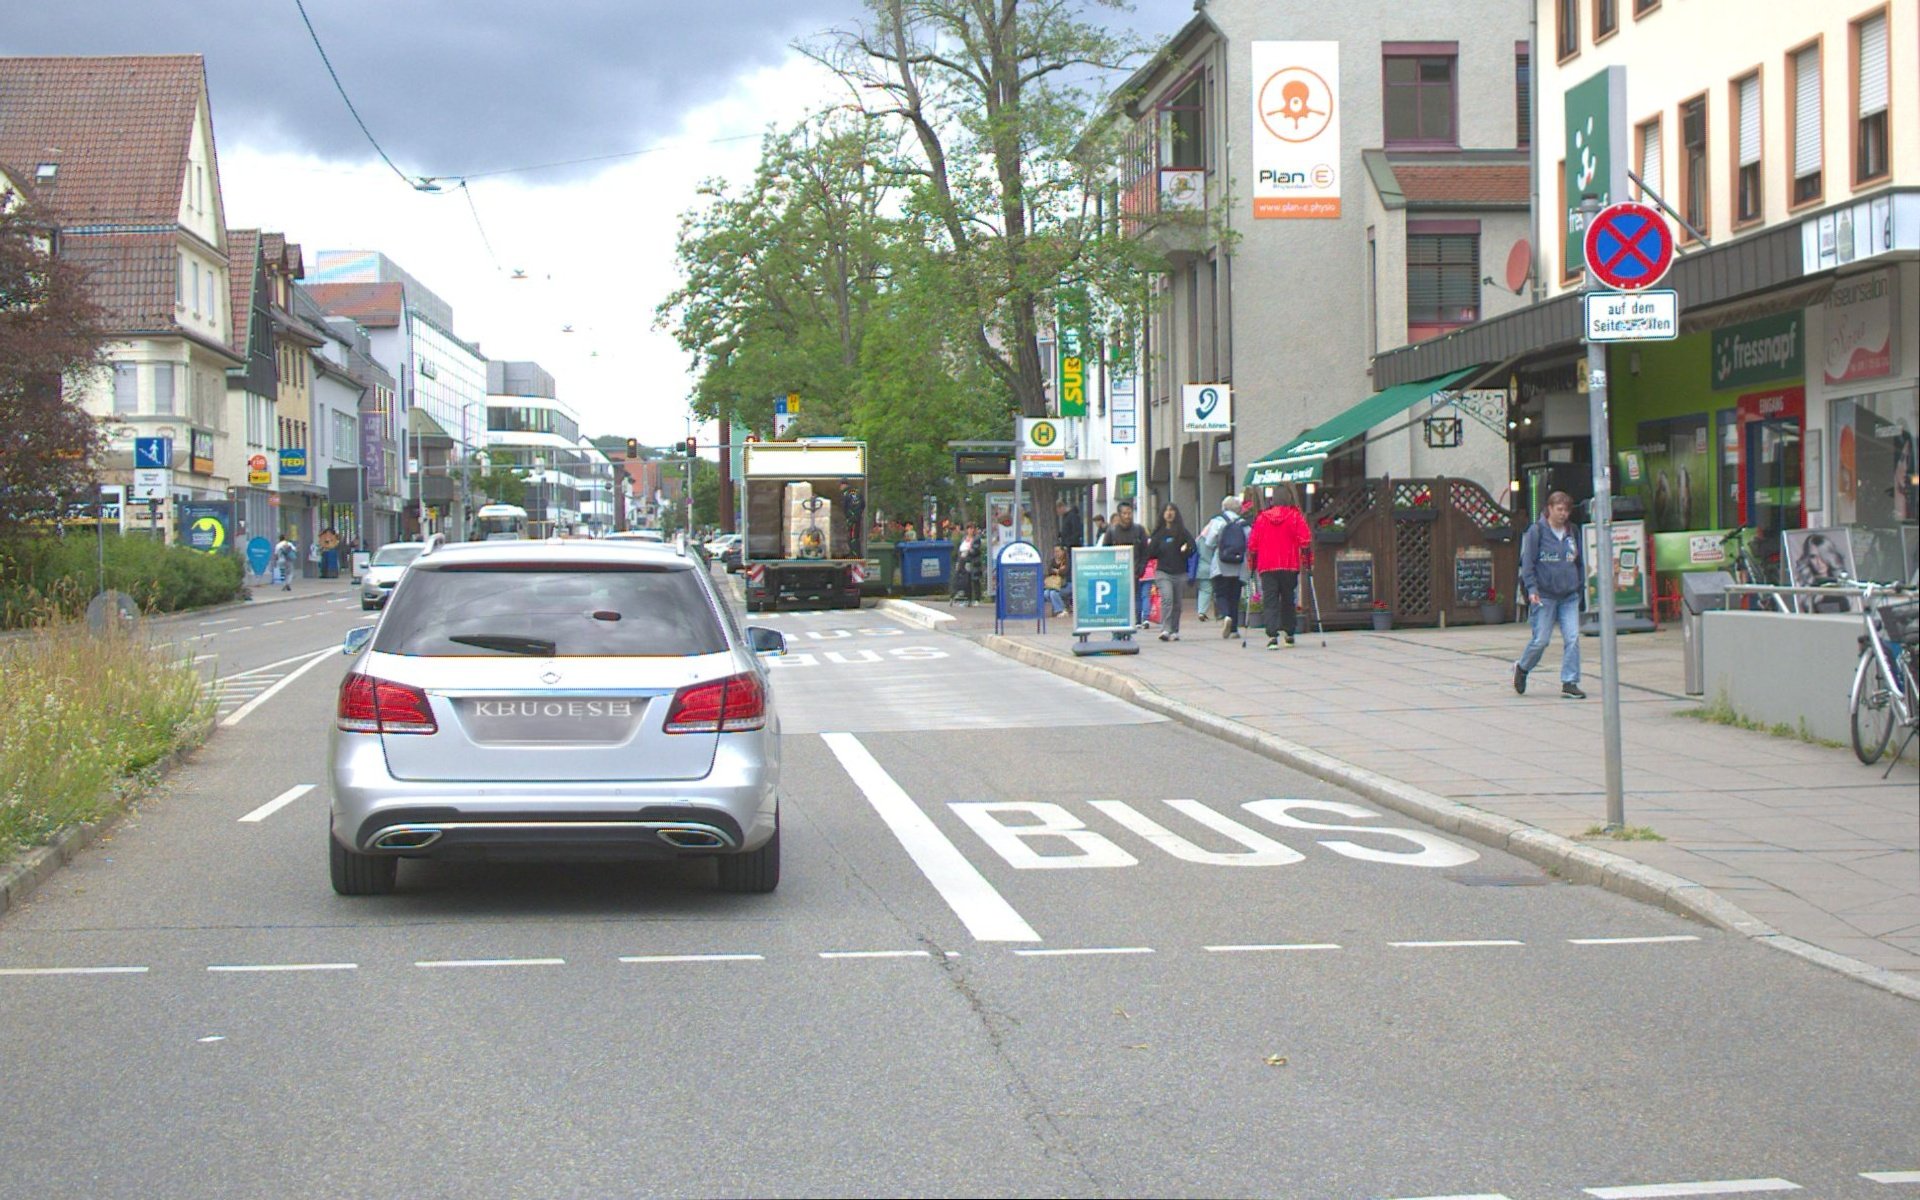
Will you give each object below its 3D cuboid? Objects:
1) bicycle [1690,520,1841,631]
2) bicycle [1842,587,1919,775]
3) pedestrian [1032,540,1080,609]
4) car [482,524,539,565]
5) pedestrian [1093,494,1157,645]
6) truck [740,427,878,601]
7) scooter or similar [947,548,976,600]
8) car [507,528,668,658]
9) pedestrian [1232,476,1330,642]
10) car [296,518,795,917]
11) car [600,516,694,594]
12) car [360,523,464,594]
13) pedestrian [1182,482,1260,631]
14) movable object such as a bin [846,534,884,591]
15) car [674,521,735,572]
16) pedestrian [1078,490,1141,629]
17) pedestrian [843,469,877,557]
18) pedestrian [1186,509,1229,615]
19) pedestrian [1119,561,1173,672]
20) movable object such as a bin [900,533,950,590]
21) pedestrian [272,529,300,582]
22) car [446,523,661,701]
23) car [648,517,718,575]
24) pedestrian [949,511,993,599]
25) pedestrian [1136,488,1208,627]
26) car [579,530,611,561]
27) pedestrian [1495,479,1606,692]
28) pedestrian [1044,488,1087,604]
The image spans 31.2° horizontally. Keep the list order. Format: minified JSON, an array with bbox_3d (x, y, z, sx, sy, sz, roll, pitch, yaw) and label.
[{"bbox_3d":[8.134,-0.264,34.810,0.741,1.059,2.352,-2,1,-6],"label":"bicycle"},{"bbox_3d":[5.238,0.430,19.036,0.273,0.971,1.387,-1,2,-3],"label":"bicycle"},{"bbox_3d":[1.630,-0.440,58.588,0.711,1.162,0.588,0,2,-10],"label":"pedestrian"},{"bbox_3d":[-20.585,-2.545,157.564,2.069,1.732,4.693,-3,1,-2],"label":"car"},{"bbox_3d":[1.866,-0.346,38.947,0.612,1.672,0.615,2,1,-2],"label":"pedestrian"},{"bbox_3d":[-3.421,-1.881,75.698,2.688,3.549,9.768,-1,1,-4],"label":"truck"},{"bbox_3d":[0.030,-0.488,64.203,0.384,0.955,0.355,-2,2,-45],"label":"scooter or similar"},{"bbox_3d":[-5.063,-0.137,47.188,1.993,1.678,4.001,-1,1,-4],"label":"car"},{"bbox_3d":[3.471,-0.440,37.205,0.795,1.736,0.782,-3,0,-9],"label":"pedestrian"},{"bbox_3d":[-1.769,0.405,15.028,1.874,1.501,4.001,0,1,-6],"label":"car"},{"bbox_3d":[-7.022,-1.035,77.480,1.993,1.678,4.001,-1,1,-4],"label":"car"},{"bbox_3d":[-12.363,-0.940,77.742,1.874,1.501,4.344,-2,1,-4],"label":"car"},{"bbox_3d":[3.123,-0.515,41.220,0.682,1.736,0.782,-3,0,-9],"label":"pedestrian"},{"bbox_3d":[-2.276,-0.896,82.298,0.881,1.335,1.085,-1,1,-2],"label":"movable object such as a bin"},{"bbox_3d":[-8.678,-1.842,117.111,1.993,1.678,4.001,-1,1,-4],"label":"car"},{"bbox_3d":[1.790,-0.482,41.130,0.612,1.629,0.615,-2,1,-7],"label":"pedestrian"},{"bbox_3d":[-2.043,-1.766,70.092,0.613,1.774,0.588,-1,0,-7],"label":"pedestrian"},{"bbox_3d":[3.847,-0.593,53.367,0.586,1.629,0.615,0,1,-3],"label":"pedestrian"},{"bbox_3d":[2.693,0.234,49.731,0.672,1.562,0.491,1,3,16],"label":"pedestrian"},{"bbox_3d":[-0.843,-0.927,82.178,1.143,1.335,1.376,-1,1,-2],"label":"movable object such as a bin"},{"bbox_3d":[-20.899,-1.391,106.611,0.816,1.629,0.980,1,1,-9],"label":"pedestrian"},{"bbox_3d":[-3.714,0.077,31.938,1.754,1.515,4.001,-1,1,-4],"label":"car"},{"bbox_3d":[-8.195,-1.614,102.007,1.993,1.678,4.001,-1,1,-4],"label":"car"},{"bbox_3d":[0.206,-0.848,64.655,0.534,1.629,0.588,2,1,-28],"label":"pedestrian"},{"bbox_3d":[2.536,-0.506,41.097,0.718,1.629,0.615,-2,1,-7],"label":"pedestrian"},{"bbox_3d":[-18.394,-2.750,173.118,1.570,1.535,2.961,1,1,-6],"label":"car"},{"bbox_3d":[4.604,-0.123,26.837,0.687,1.629,0.853,-1,1,-1],"label":"pedestrian"},{"bbox_3d":[1.881,-0.959,61.141,0.613,2.040,0.588,-2,0,9],"label":"pedestrian"}]
